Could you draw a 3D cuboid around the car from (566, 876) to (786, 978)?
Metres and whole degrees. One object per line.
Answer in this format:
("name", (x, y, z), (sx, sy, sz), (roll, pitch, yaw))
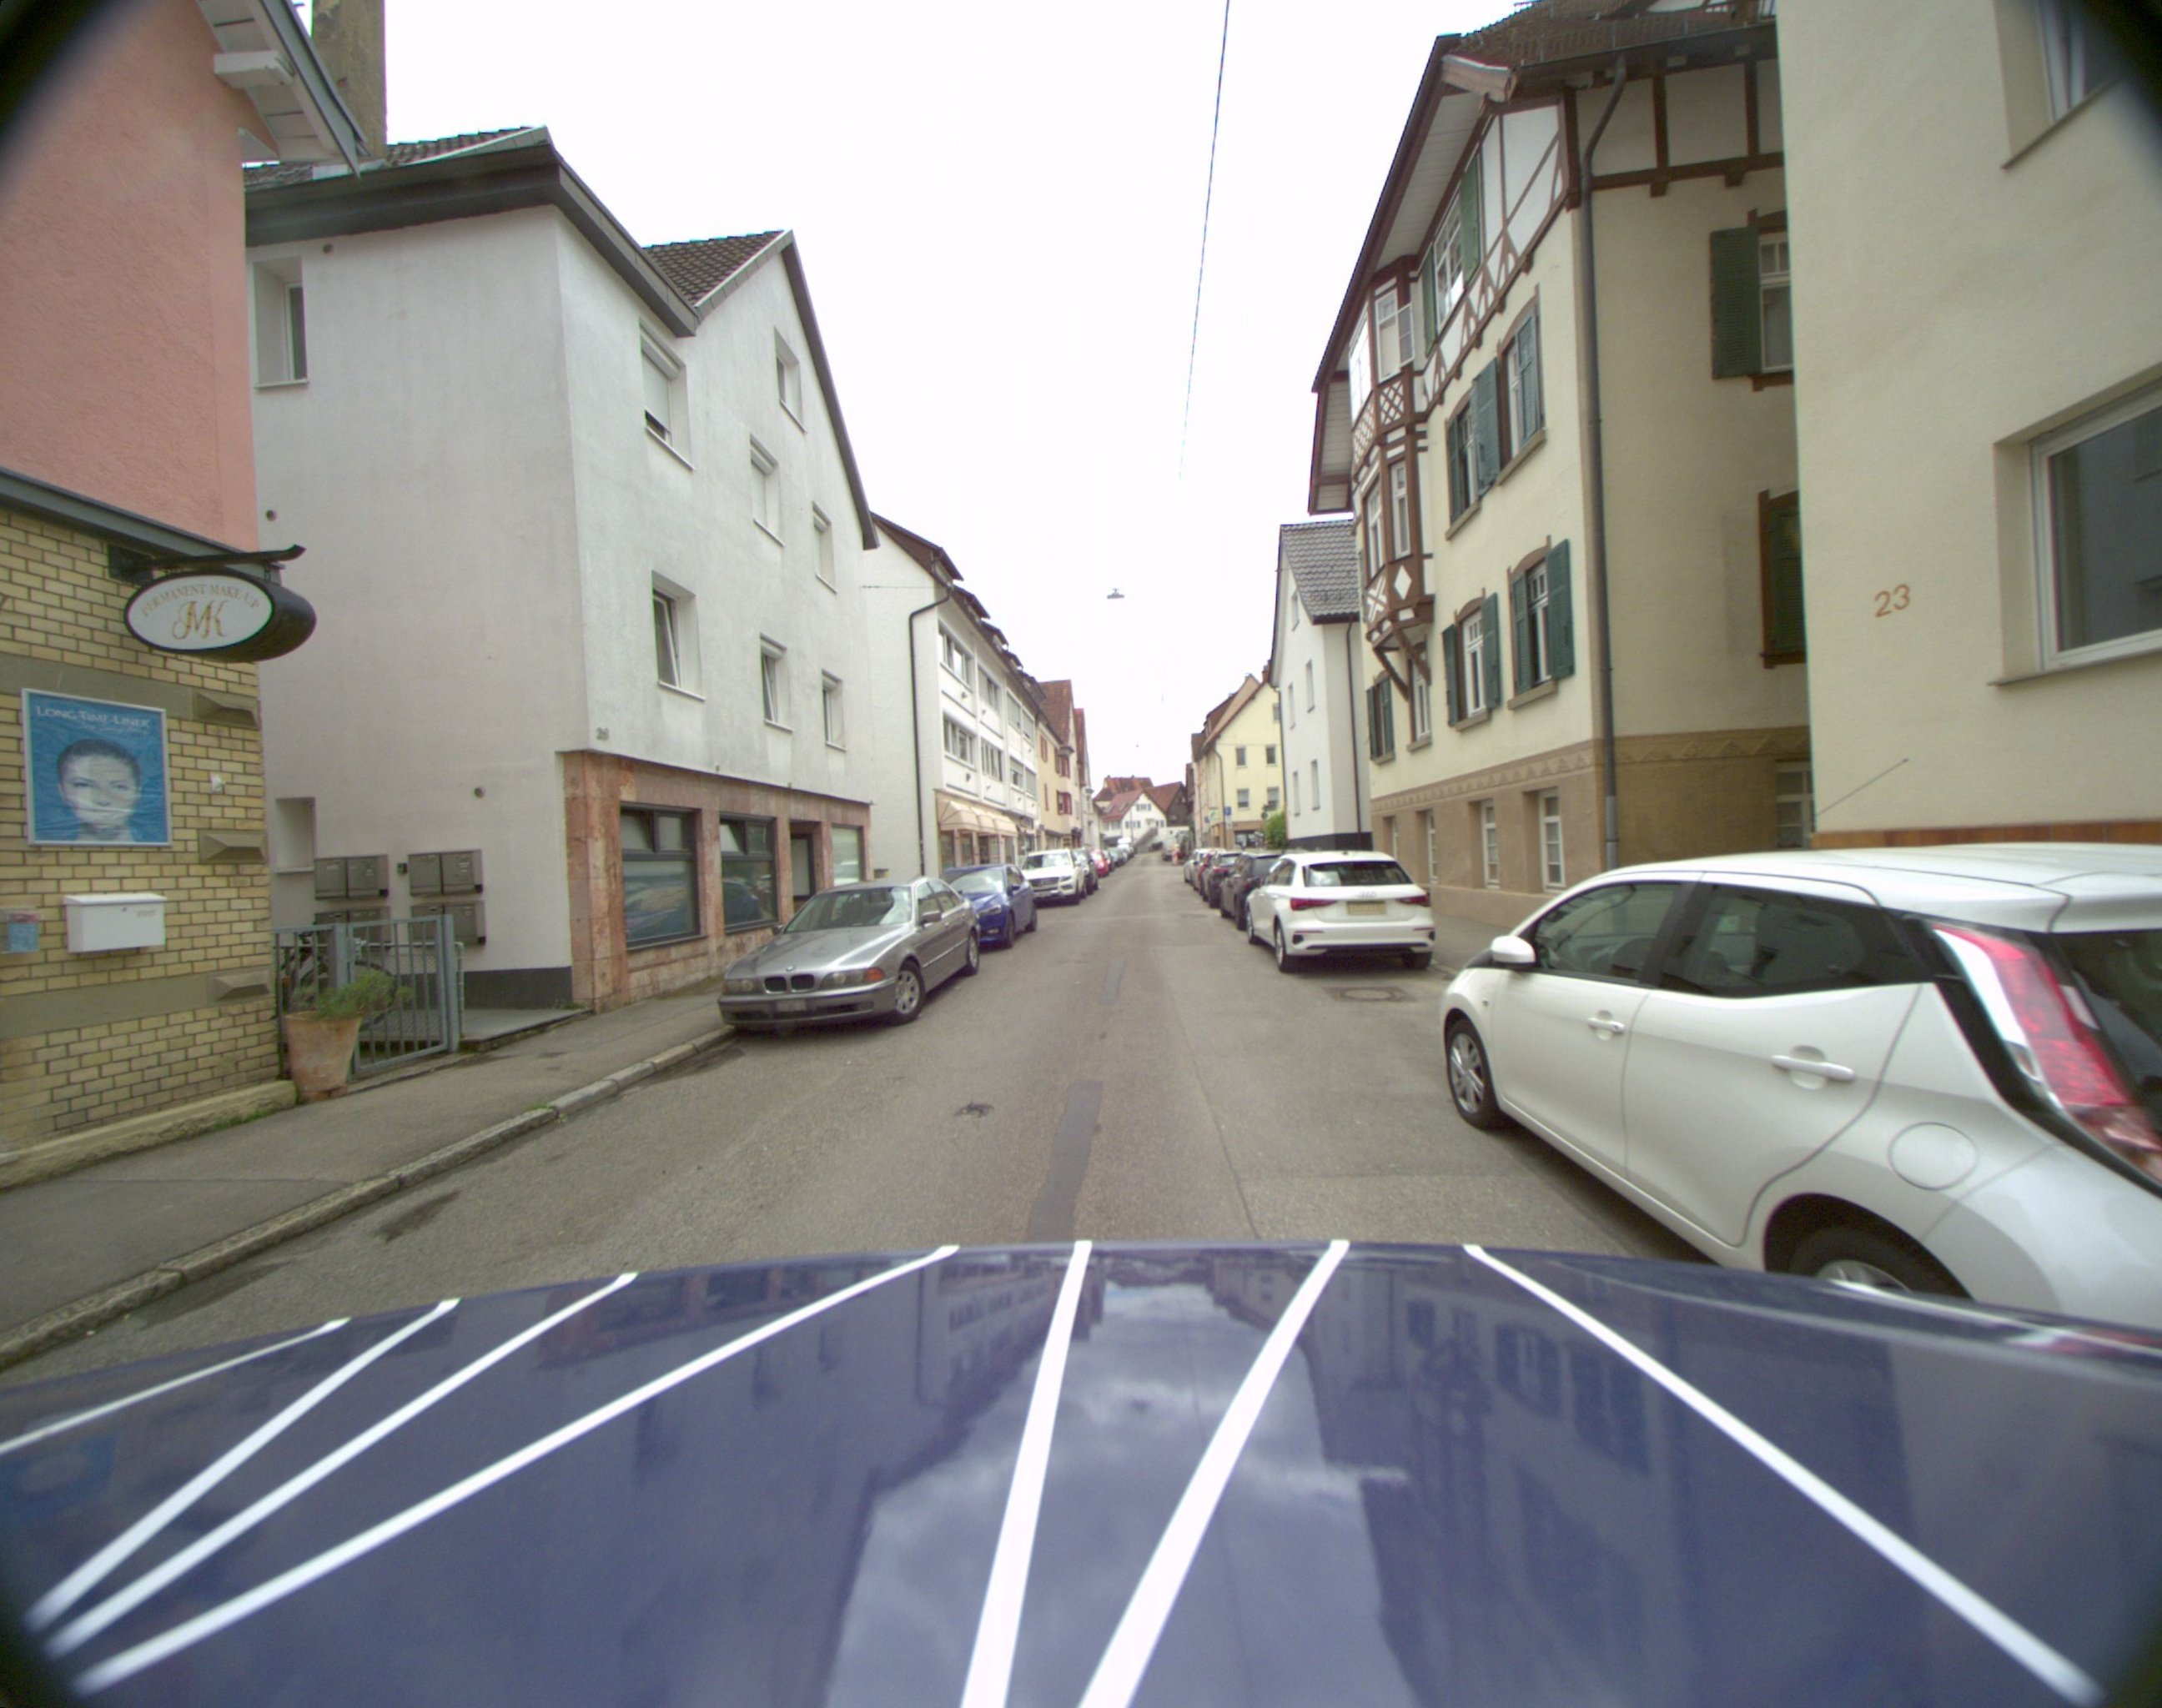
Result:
("car", (-7.718, 1.320, 14.977), (1.646, 1.424, 4.014), (-4, 1, 8))

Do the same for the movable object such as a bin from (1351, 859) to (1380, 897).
("movable object such as a bin", (7.452, 0.627, 19.895), (0.515, 0.926, 0.604), (-4, 0, 6))

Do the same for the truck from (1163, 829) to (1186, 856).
("truck", (8.791, -1.119, 71.935), (1.783, 2.378, 5.486), (-3, 1, 4))

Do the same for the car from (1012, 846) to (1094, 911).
("car", (-0.764, 0.671, 23.973), (1.900, 1.696, 4.495), (-4, 1, 5))

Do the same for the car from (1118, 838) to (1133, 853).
("car", (5.653, -1.049, 96.021), (1.605, 1.716, 3.552), (-6, 1, 5))

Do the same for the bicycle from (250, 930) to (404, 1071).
("bicycle", (-6.975, 1.352, 7.033), (1.200, 1.211, 0.295), (-3, 0, 8))

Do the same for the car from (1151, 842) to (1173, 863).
("car", (6.743, -0.160, 63.518), (1.605, 1.464, 3.552), (-6, 1, 5))

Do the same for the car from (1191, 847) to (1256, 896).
("car", (4.700, 0.522, 25.528), (1.755, 1.441, 4.067), (-1, 1, 5))

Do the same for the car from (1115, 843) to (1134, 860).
("car", (4.379, -0.281, 76.251), (1.605, 1.464, 3.552), (-6, 1, 5))

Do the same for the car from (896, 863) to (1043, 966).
("car", (-1.909, 1.009, 14.268), (1.755, 1.424, 3.929), (-4, 1, 5))

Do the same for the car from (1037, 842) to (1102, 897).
("car", (-0.357, 0.528, 29.271), (1.900, 1.779, 4.345), (-4, 1, 5))

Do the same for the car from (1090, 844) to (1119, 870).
("car", (1.627, 0.176, 51.430), (1.605, 1.519, 3.989), (-6, 1, 5))

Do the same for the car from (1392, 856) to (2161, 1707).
("car", (2.700, 0.805, 2.975), (1.670, 1.426, 3.817), (-2, 1, 5))

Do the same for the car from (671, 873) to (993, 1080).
("car", (-2.420, 1.122, 8.827), (1.791, 1.409, 4.578), (-6, 1, 4))

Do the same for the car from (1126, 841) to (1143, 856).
("car", (5.894, -0.655, 83.407), (1.605, 1.464, 3.552), (-6, 1, 5))

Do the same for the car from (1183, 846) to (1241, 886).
("car", (5.183, 0.426, 30.569), (1.755, 1.423, 4.349), (-1, 1, 2))

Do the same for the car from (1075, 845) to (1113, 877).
("car", (0.794, 0.345, 43.394), (1.673, 1.519, 3.989), (-6, 1, 6))

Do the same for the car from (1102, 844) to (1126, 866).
("car", (2.663, 0.044, 60.792), (1.605, 1.464, 3.989), (-6, 1, 5))

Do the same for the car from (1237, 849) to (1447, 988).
("car", (3.281, 0.697, 10.464), (1.755, 1.424, 4.370), (-1, 1, 5))

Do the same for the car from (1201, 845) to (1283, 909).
("car", (4.205, 0.538, 20.378), (1.755, 1.501, 4.085), (-1, 1, 6))

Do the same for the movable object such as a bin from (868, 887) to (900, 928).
("movable object such as a bin", (-4.615, 1.255, 17.804), (0.570, 0.924, 0.522), (0, 1, 6))

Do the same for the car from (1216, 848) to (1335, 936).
("car", (3.789, 0.653, 15.474), (1.755, 1.448, 4.371), (-1, 1, 6))

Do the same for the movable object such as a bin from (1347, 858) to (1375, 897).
("movable object such as a bin", (7.568, 0.628, 20.553), (0.515, 1.009, 0.604), (-4, 0, 6))
